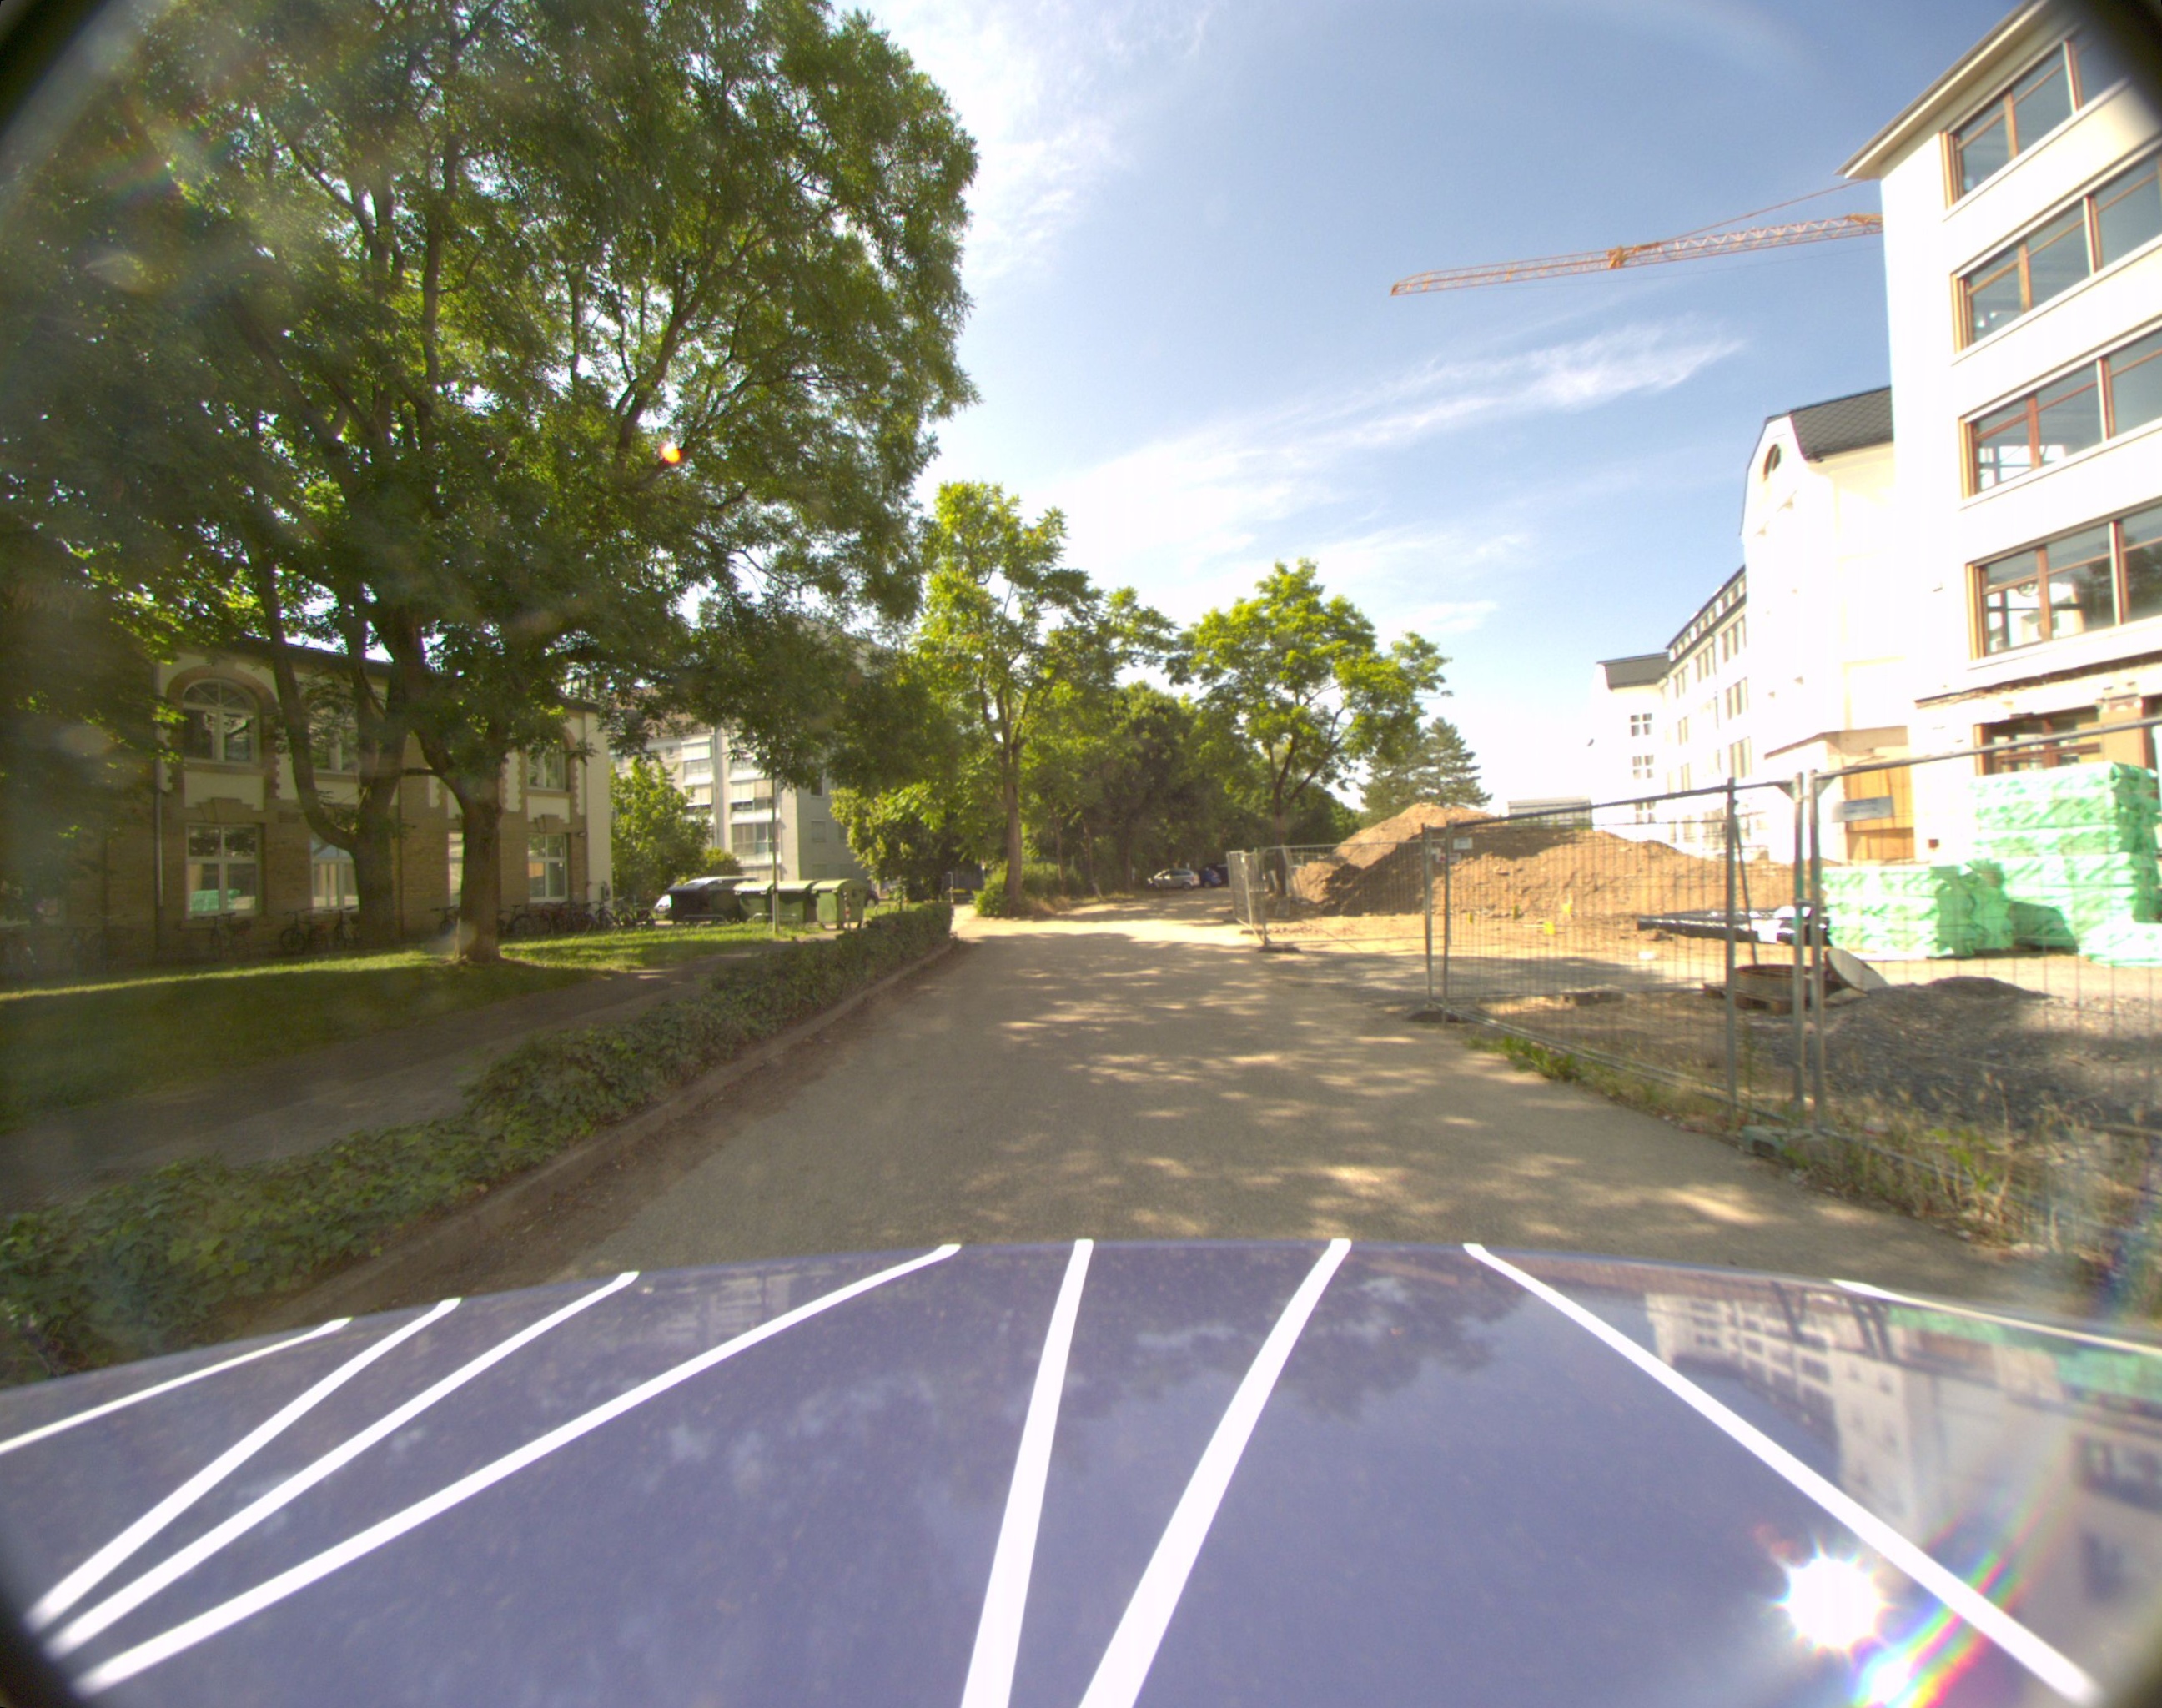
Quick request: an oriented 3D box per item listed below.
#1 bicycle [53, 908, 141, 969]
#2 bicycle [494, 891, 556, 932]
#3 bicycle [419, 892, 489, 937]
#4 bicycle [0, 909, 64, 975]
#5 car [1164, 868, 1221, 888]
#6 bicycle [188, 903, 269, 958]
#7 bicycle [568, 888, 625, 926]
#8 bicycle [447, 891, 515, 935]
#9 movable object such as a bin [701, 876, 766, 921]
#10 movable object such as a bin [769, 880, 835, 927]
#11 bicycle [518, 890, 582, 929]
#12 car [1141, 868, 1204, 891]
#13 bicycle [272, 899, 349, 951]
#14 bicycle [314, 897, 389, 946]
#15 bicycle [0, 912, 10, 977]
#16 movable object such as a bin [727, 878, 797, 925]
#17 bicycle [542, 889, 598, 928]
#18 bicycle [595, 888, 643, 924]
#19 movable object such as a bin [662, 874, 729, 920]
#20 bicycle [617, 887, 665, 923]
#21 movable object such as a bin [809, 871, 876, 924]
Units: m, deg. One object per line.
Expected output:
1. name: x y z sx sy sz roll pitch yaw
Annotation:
1. bicycle: -19.952 1.686 15.399 2.097 1.154 0.589 -2 0 24
2. bicycle: -16.445 1.686 22.460 1.917 1.154 0.589 -2 0 24
3. bicycle: -17.223 1.651 20.872 2.097 1.154 0.589 -2 0 24
4. bicycle: -20.396 1.662 14.575 2.097 1.154 0.589 -2 0 24
5. car: 8.538 1.851 58.132 3.991 1.433 2.003 -2 -1 19
6. bicycle: -19.120 1.684 17.033 2.097 1.154 0.589 -2 0 24
7. bicycle: -15.635 1.705 24.496 1.846 1.154 0.614 -2 0 24
8. bicycle: -16.996 1.659 21.506 2.097 1.154 0.589 -2 0 24
9. movable object such as a bin: -10.940 1.402 23.948 1.349 1.341 1.217 -2 0 21
10. movable object such as a bin: -8.259 1.446 22.529 1.352 1.293 1.217 -2 0 21
11. bicycle: -16.201 1.683 23.173 2.097 1.154 0.589 -2 0 24
12. car: 6.429 1.785 53.166 3.991 1.499 2.003 -2 -1 19
13. bicycle: -18.521 1.685 18.260 2.097 1.154 0.589 -2 0 24
14. bicycle: -18.234 1.672 18.982 2.097 1.154 0.589 -2 0 24
15. bicycle: -20.540 1.670 13.956 2.097 1.154 0.589 -2 0 24
16. movable object such as a bin: -9.673 1.428 23.097 1.498 1.353 1.217 -2 0 21
17. bicycle: -15.945 1.687 23.688 1.909 1.154 0.495 -2 0 24
18. bicycle: -15.227 1.701 25.023 1.800 1.154 0.508 -2 0 29
19. movable object such as a bin: -12.414 1.376 24.492 1.433 1.401 1.252 -2 0 20
20. bicycle: -14.757 1.701 25.462 1.940 1.154 0.558 -2 0 34
21. movable object such as a bin: -6.896 1.234 21.983 1.388 1.454 1.218 -2 0 36
